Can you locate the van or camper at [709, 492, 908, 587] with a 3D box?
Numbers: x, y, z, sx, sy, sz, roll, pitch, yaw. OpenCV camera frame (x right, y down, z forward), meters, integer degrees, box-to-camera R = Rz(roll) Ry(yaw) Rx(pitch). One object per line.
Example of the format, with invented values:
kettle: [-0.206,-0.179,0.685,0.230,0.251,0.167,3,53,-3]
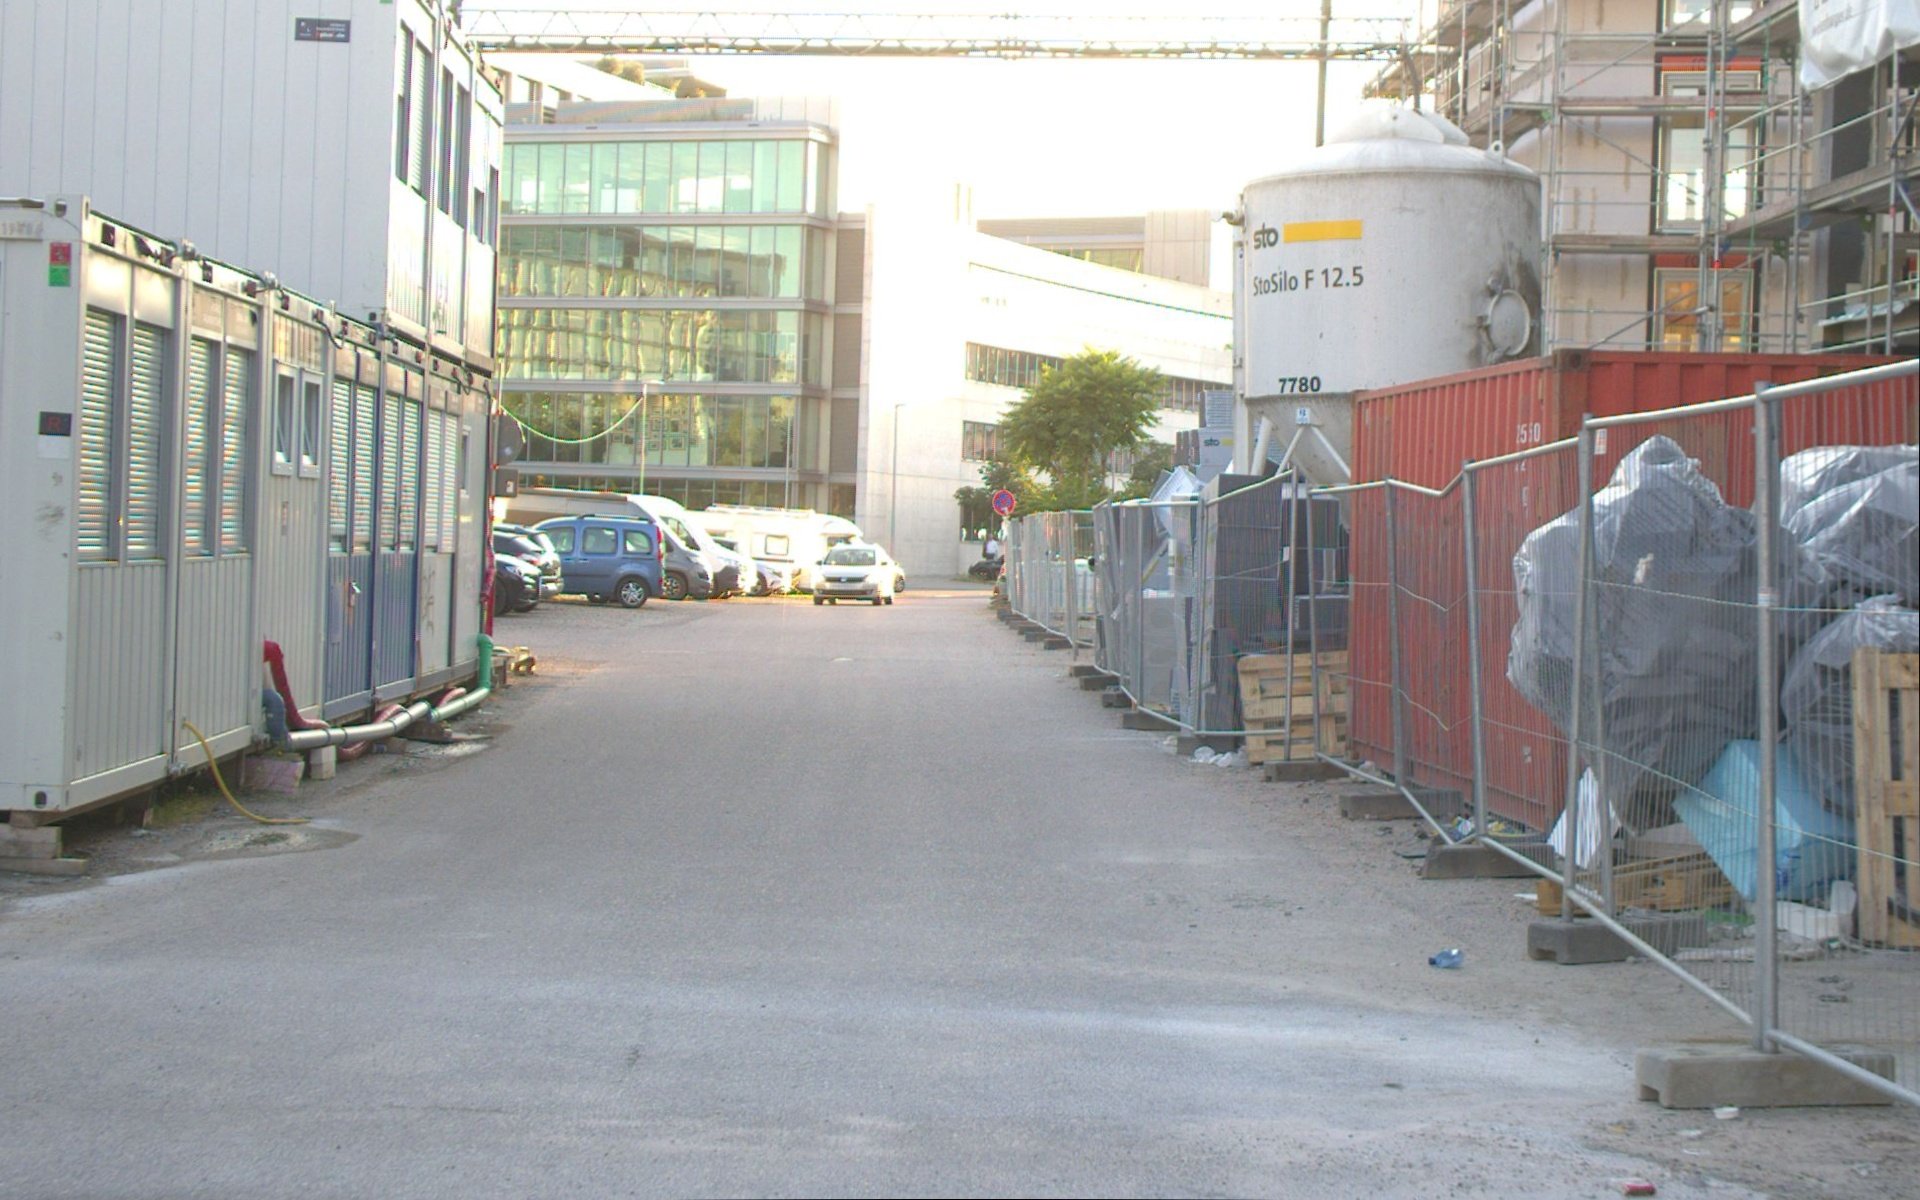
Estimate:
van or camper: [-5.173,-2.059,117.647,6.336,2.968,2.291,3,1,12]

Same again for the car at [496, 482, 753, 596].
car: [-8.579,-1.567,88.254,6.328,2.731,2.000,2,1,0]

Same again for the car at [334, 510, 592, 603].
car: [-9.545,-0.845,66.187,4.505,1.642,1.999,2,1,8]

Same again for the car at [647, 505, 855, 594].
car: [-6.294,-1.533,103.814,5.926,2.481,1.999,2,1,10]

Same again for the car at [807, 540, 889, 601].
car: [-2.913,-0.790,90.226,1.665,1.523,3.910,2,1,5]

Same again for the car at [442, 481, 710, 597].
car: [-9.419,-1.503,84.652,6.328,2.642,2.000,2,1,0]

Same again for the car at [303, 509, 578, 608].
car: [-9.394,-0.764,62.312,4.505,1.642,1.999,2,1,8]

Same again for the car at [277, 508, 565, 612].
car: [-9.310,-0.702,59.544,4.505,1.642,1.999,2,1,8]

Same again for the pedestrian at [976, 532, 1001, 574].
pedestrian: [1.249,-2.044,150.116,0.764,1.810,0.844,2,1,23]

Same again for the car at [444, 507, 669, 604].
car: [-8.290,-0.917,70.777,4.503,1.862,2.000,1,1,-6]
